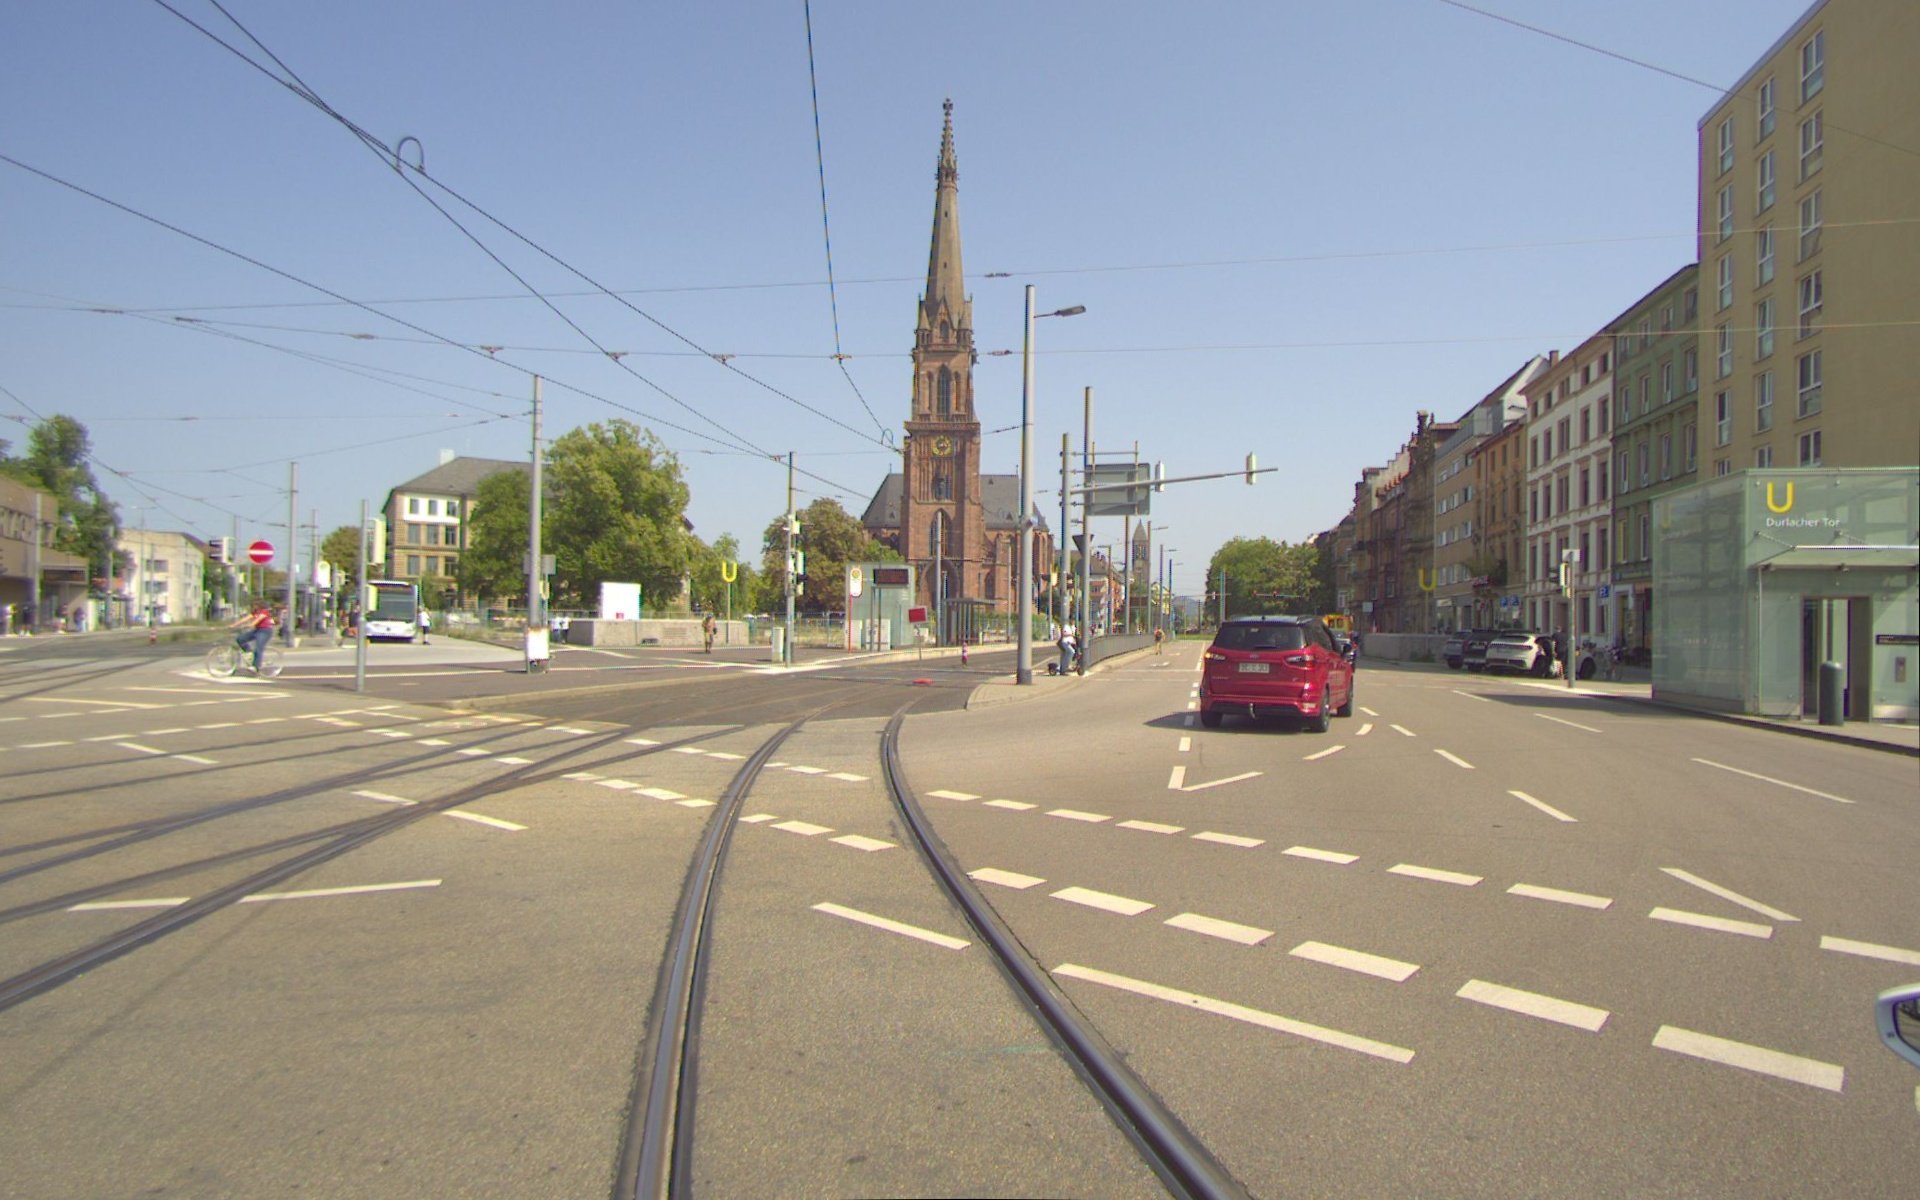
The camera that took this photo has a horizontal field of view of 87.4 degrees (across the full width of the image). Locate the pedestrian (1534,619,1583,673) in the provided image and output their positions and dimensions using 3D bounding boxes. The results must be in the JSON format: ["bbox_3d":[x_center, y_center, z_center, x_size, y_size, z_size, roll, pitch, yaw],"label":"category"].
[{"bbox_3d":[19.641,1.504,32.973,1.020,1.727,0.902,2,-1,-13],"label":"pedestrian"}]

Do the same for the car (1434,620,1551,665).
[{"bbox_3d":[21.951,1.724,41.383,4.607,1.736,2.029,1,-1,-28],"label":"car"}]

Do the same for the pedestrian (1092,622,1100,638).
[{"bbox_3d":[15.339,3.343,113.363,0.815,1.775,0.721,1,-2,14],"label":"pedestrian"}]

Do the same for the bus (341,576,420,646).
[{"bbox_3d":[-31.648,0.604,54.565,2.650,3.375,12.635,1,-1,-34],"label":"bus"}]

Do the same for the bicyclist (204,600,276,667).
[{"bbox_3d":[-16.366,0.752,22.847,0.860,1.479,0.980,0,-1,17],"label":"bicyclist"}]

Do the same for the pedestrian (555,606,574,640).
[{"bbox_3d":[-20.507,1.212,52.100,0.777,1.751,0.671,1,-1,-37],"label":"pedestrian"}]

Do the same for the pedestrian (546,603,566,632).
[{"bbox_3d":[-21.744,0.943,54.059,0.777,1.569,0.671,3,-2,-37],"label":"pedestrian"}]

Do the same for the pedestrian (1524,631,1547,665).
[{"bbox_3d":[32.235,2.691,56.271,0.826,1.870,0.687,-1,-1,5],"label":"pedestrian"}]

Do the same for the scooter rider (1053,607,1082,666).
[{"bbox_3d":[3.125,1.068,29.092,0.758,1.695,0.780,1,-3,9],"label":"scooter rider"}]

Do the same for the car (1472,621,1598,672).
[{"bbox_3d":[19.797,1.599,34.597,3.731,1.520,1.798,3,0,-22],"label":"car"}]

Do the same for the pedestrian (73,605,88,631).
[{"bbox_3d":[-51.509,1.035,58.845,0.544,1.520,0.561,0,1,-30],"label":"pedestrian"}]

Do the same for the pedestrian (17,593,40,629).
[{"bbox_3d":[-43.251,0.520,46.635,0.501,1.667,0.571,1,1,16],"label":"pedestrian"}]

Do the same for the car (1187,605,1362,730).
[{"bbox_3d":[4.939,0.929,15.392,1.736,1.639,4.075,0,-1,30],"label":"car"}]

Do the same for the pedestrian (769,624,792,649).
[{"bbox_3d":[-11.075,2.248,62.021,0.609,1.506,1.678,1,-1,-40],"label":"pedestrian"}]

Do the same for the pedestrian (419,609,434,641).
[{"bbox_3d":[-26.605,1.242,50.084,0.571,1.548,0.594,2,-2,-34],"label":"pedestrian"}]

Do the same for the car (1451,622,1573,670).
[{"bbox_3d":[20.716,1.695,37.650,4.337,1.710,1.972,1,-1,-28],"label":"car"}]

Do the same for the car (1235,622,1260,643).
[{"bbox_3d":[25.086,2.847,87.762,1.759,1.803,4.003,1,-2,12],"label":"car"}]

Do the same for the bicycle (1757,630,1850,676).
[{"bbox_3d":[27.301,1.710,32.498,3.316,1.423,0.899,1,-1,-23],"label":"bicycle"}]

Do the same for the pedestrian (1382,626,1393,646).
[{"bbox_3d":[36.266,3.048,85.269,0.685,1.689,1.065,1,-1,16],"label":"pedestrian"}]

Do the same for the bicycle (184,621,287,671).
[{"bbox_3d":[-16.385,1.020,22.776,0.602,1.083,1.914,0,-1,17],"label":"bicycle"}]

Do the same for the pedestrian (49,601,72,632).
[{"bbox_3d":[-50.635,0.919,56.535,0.786,1.702,0.849,0,1,-30],"label":"pedestrian"}]

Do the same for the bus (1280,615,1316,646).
[{"bbox_3d":[35.586,3.205,106.155,2.491,3.072,12.444,1,-1,14],"label":"bus"}]

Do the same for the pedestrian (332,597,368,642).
[{"bbox_3d":[-24.943,0.806,41.076,0.770,1.803,0.960,1,-2,16],"label":"pedestrian"}]

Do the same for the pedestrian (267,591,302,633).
[{"bbox_3d":[-29.745,0.546,44.251,0.770,1.803,0.960,1,-2,16],"label":"pedestrian"}]

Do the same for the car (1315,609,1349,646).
[{"bbox_3d":[30.216,2.233,81.790,2.260,2.927,5.601,-1,-1,17],"label":"car"}]

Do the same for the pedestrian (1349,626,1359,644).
[{"bbox_3d":[37.669,3.348,96.046,0.688,1.689,0.600,0,-1,40],"label":"pedestrian"}]

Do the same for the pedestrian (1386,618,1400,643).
[{"bbox_3d":[31.128,2.155,72.242,0.836,1.752,0.971,-1,1,20],"label":"pedestrian"}]

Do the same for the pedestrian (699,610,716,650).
[{"bbox_3d":[-10.829,1.285,43.040,0.563,1.681,0.800,1,1,-4],"label":"pedestrian"}]

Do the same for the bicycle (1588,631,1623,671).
[{"bbox_3d":[22.062,1.741,34.360,0.465,1.313,1.793,0,-2,16],"label":"bicycle"}]

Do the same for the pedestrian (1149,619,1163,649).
[{"bbox_3d":[11.543,1.998,59.240,0.748,1.775,1.070,1,-2,14],"label":"pedestrian"}]

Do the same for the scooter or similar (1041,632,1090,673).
[{"bbox_3d":[3.059,1.510,29.089,1.315,1.164,0.710,0,-1,12],"label":"scooter or similar"}]

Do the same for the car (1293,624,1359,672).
[{"bbox_3d":[12.208,1.554,33.673,1.760,1.450,4.002,1,-1,16],"label":"car"}]
